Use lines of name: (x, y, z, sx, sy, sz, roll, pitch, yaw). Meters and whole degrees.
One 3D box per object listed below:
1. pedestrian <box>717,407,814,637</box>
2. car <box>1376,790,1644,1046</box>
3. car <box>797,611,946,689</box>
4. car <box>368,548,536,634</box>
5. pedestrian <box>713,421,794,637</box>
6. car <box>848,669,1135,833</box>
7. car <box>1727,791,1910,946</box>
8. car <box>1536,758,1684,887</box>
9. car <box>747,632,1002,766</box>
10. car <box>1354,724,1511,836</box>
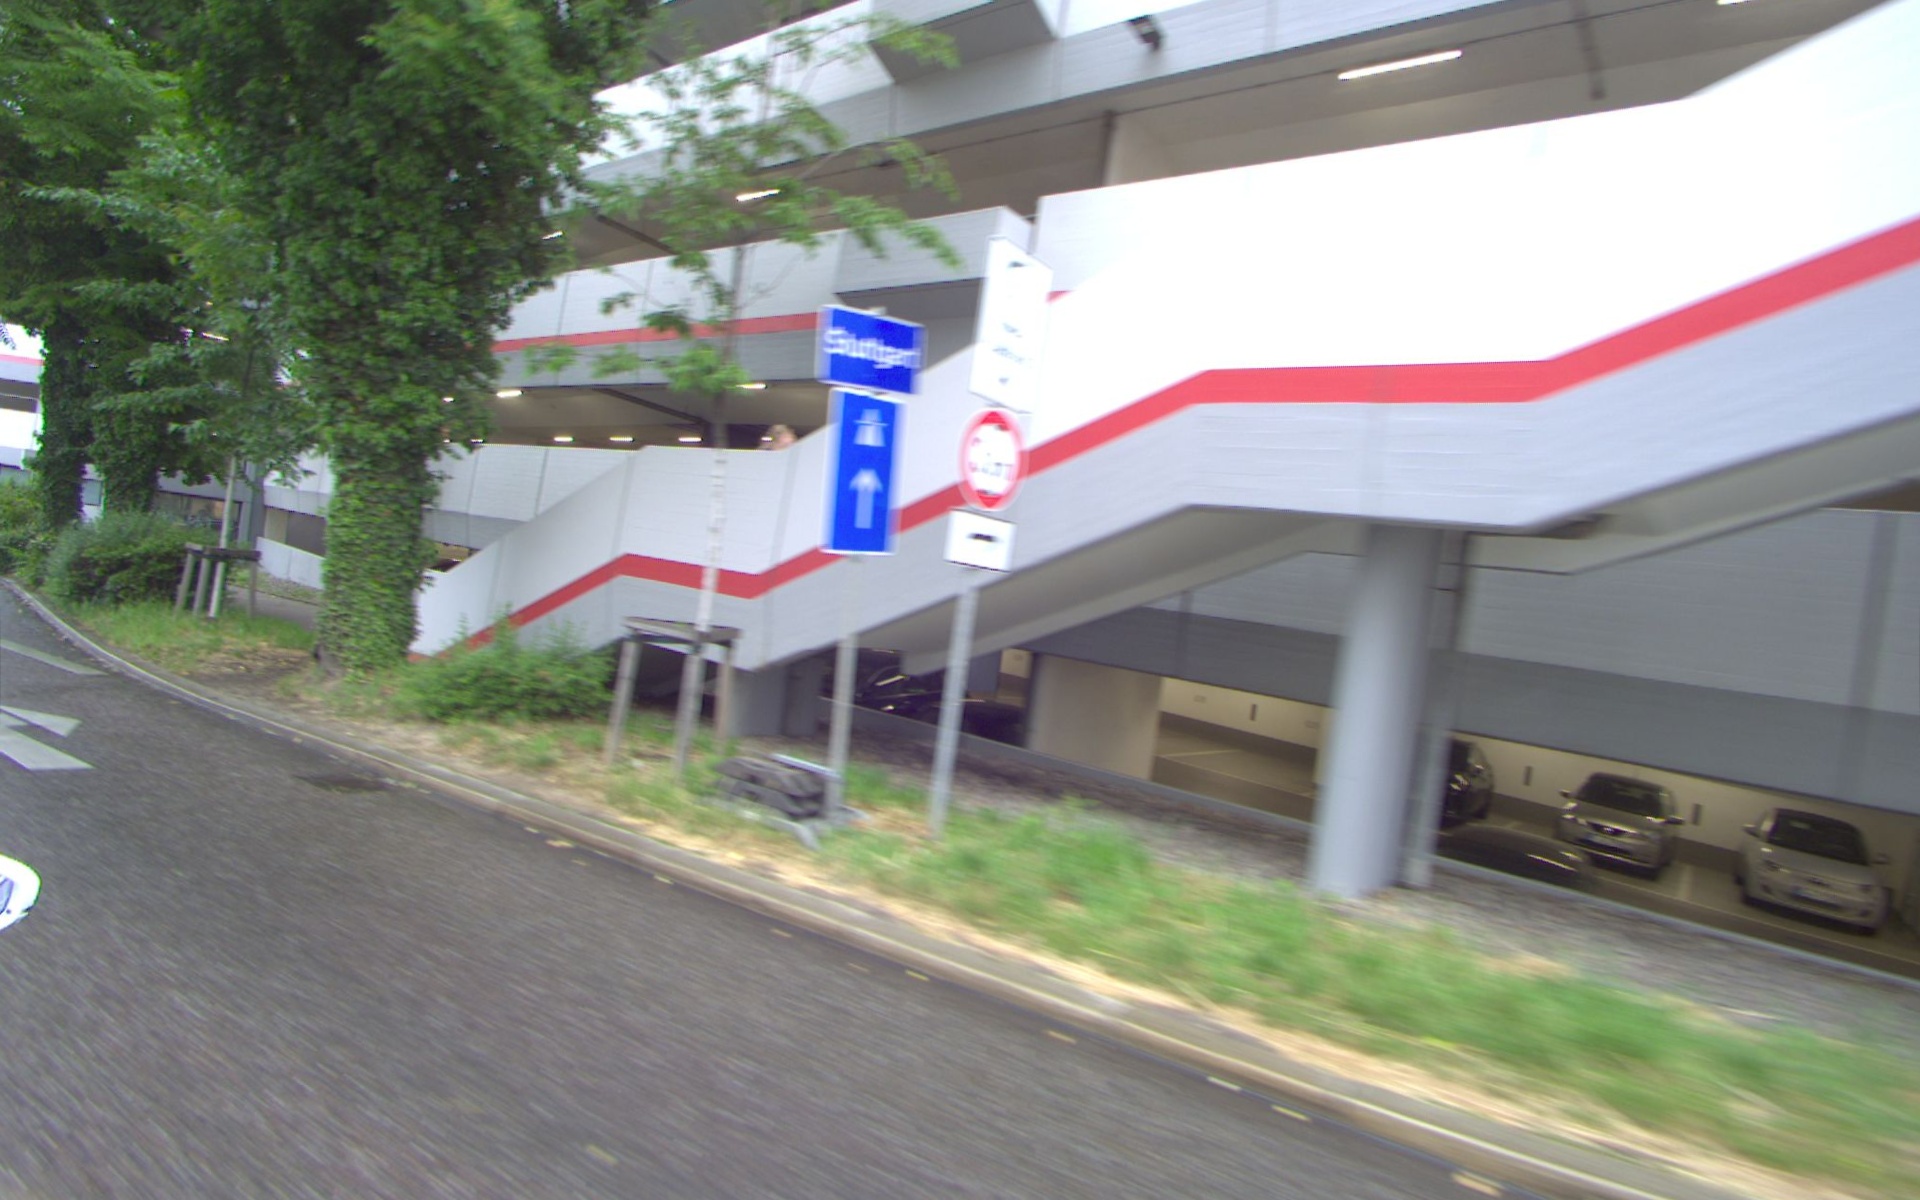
pedestrian: (-1.925, -0.759, 9.953, 0.486, 2.180, 0.514, 7, 1, 36)
car: (6.067, 3.166, 10.855, 1.810, 1.559, 3.931, 11, 1, 37)
car: (-2.510, 1.478, 29.196, 1.792, 1.804, 3.979, 7, -1, 44)
car: (-13.382, -0.209, 26.585, 1.792, 1.804, 3.448, 7, 0, 44)
pedestrian: (-2.159, -0.730, 10.507, 0.427, 2.180, 0.421, 7, 1, 36)
car: (0.577, 1.951, 13.626, 1.810, 1.643, 3.989, 7, -1, 36)
car: (14.056, 4.295, 16.702, 1.810, 1.559, 3.988, 11, 1, 37)
car: (11.957, 3.925, 18.387, 1.810, 1.559, 3.988, 11, 1, 37)
car: (-1.228, 1.557, 15.811, 1.782, 1.559, 3.734, 11, 1, 37)
car: (9.298, 3.391, 19.643, 1.810, 1.559, 3.988, 11, 1, 37)
